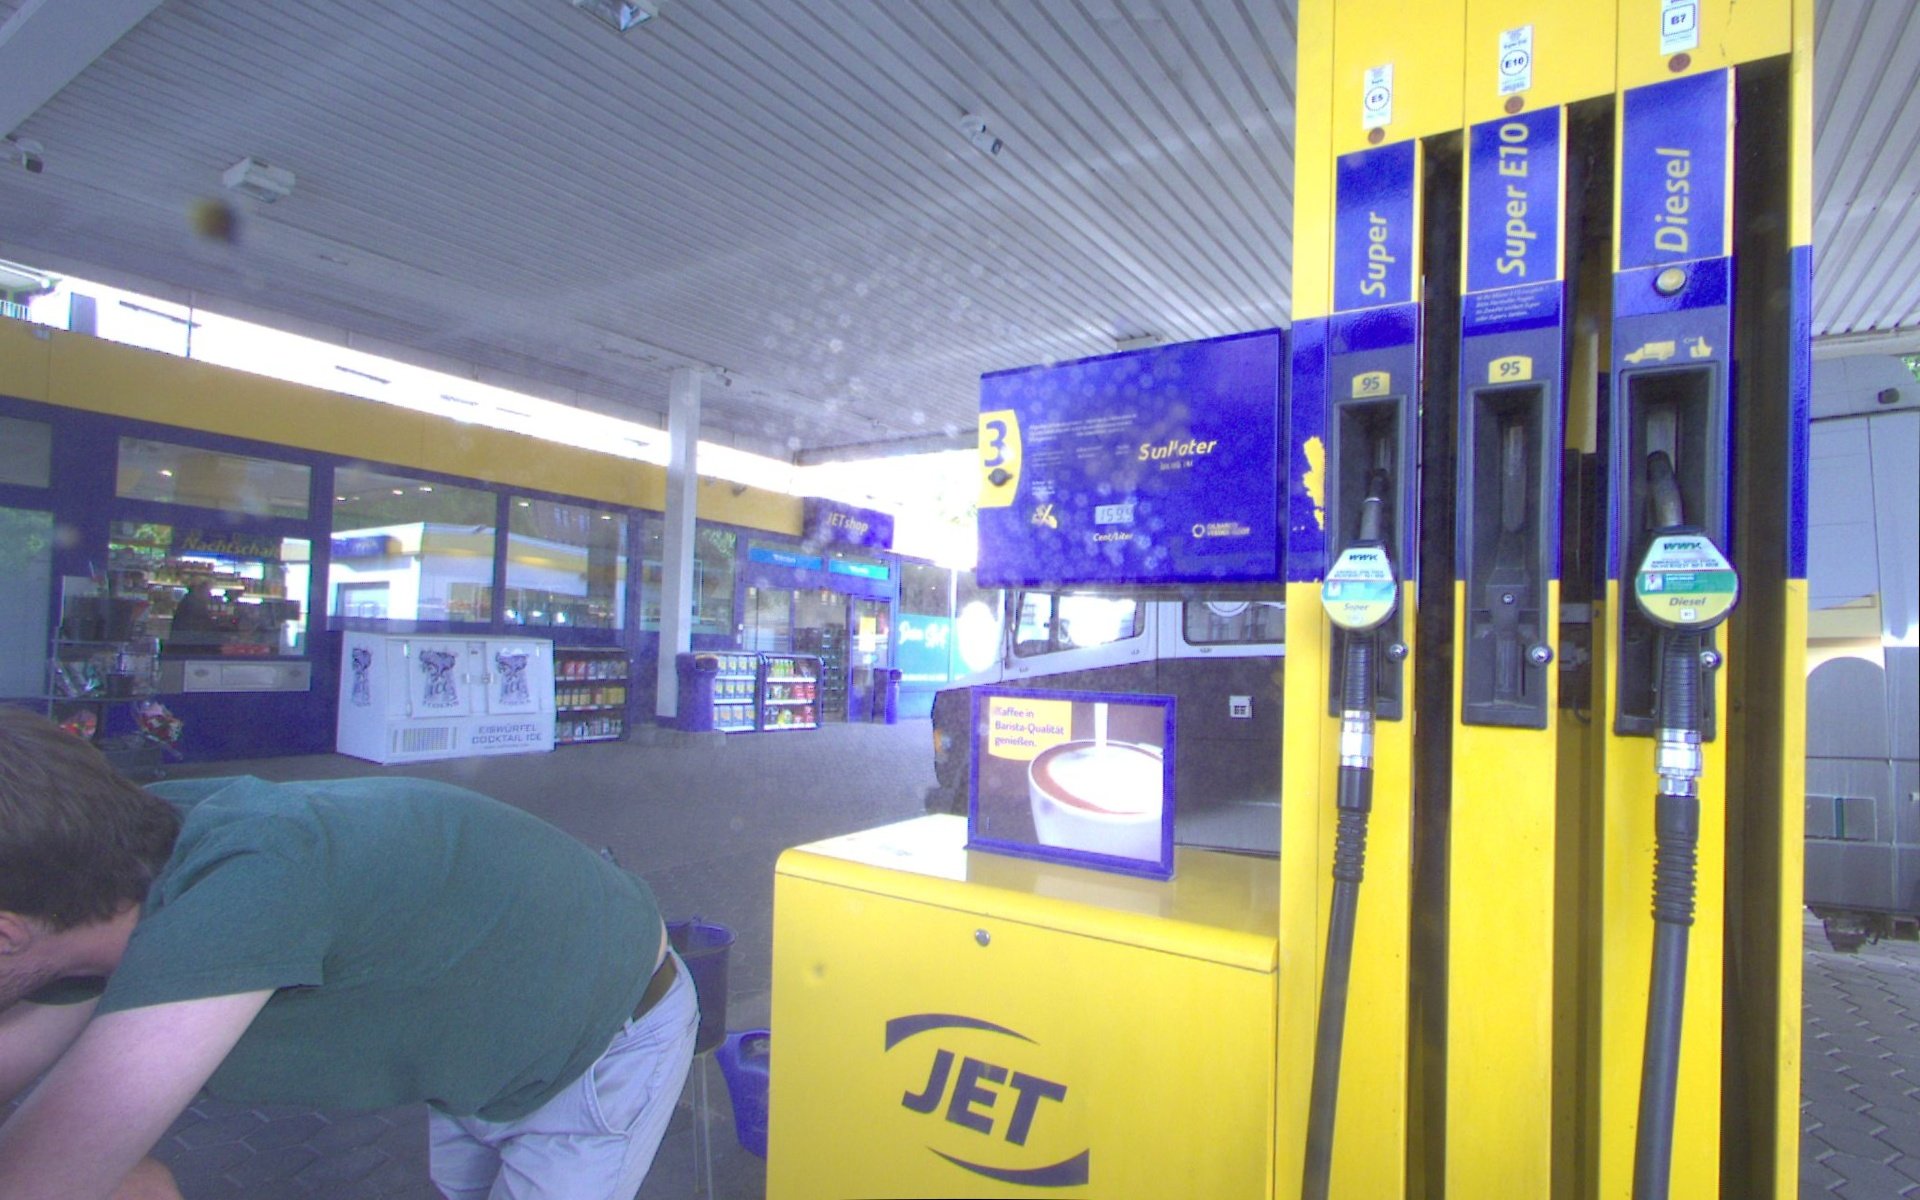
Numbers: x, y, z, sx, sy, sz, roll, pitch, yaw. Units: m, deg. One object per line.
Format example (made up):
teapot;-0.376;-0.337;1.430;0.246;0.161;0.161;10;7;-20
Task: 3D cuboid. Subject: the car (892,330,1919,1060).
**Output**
car;2.354;0.437;6.000;5.271;2.759;2.193;-1;-3;34

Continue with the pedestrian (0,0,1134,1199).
pedestrian;-0.519;0.580;1.083;0.981;1.750;1.175;-2;-2;36
